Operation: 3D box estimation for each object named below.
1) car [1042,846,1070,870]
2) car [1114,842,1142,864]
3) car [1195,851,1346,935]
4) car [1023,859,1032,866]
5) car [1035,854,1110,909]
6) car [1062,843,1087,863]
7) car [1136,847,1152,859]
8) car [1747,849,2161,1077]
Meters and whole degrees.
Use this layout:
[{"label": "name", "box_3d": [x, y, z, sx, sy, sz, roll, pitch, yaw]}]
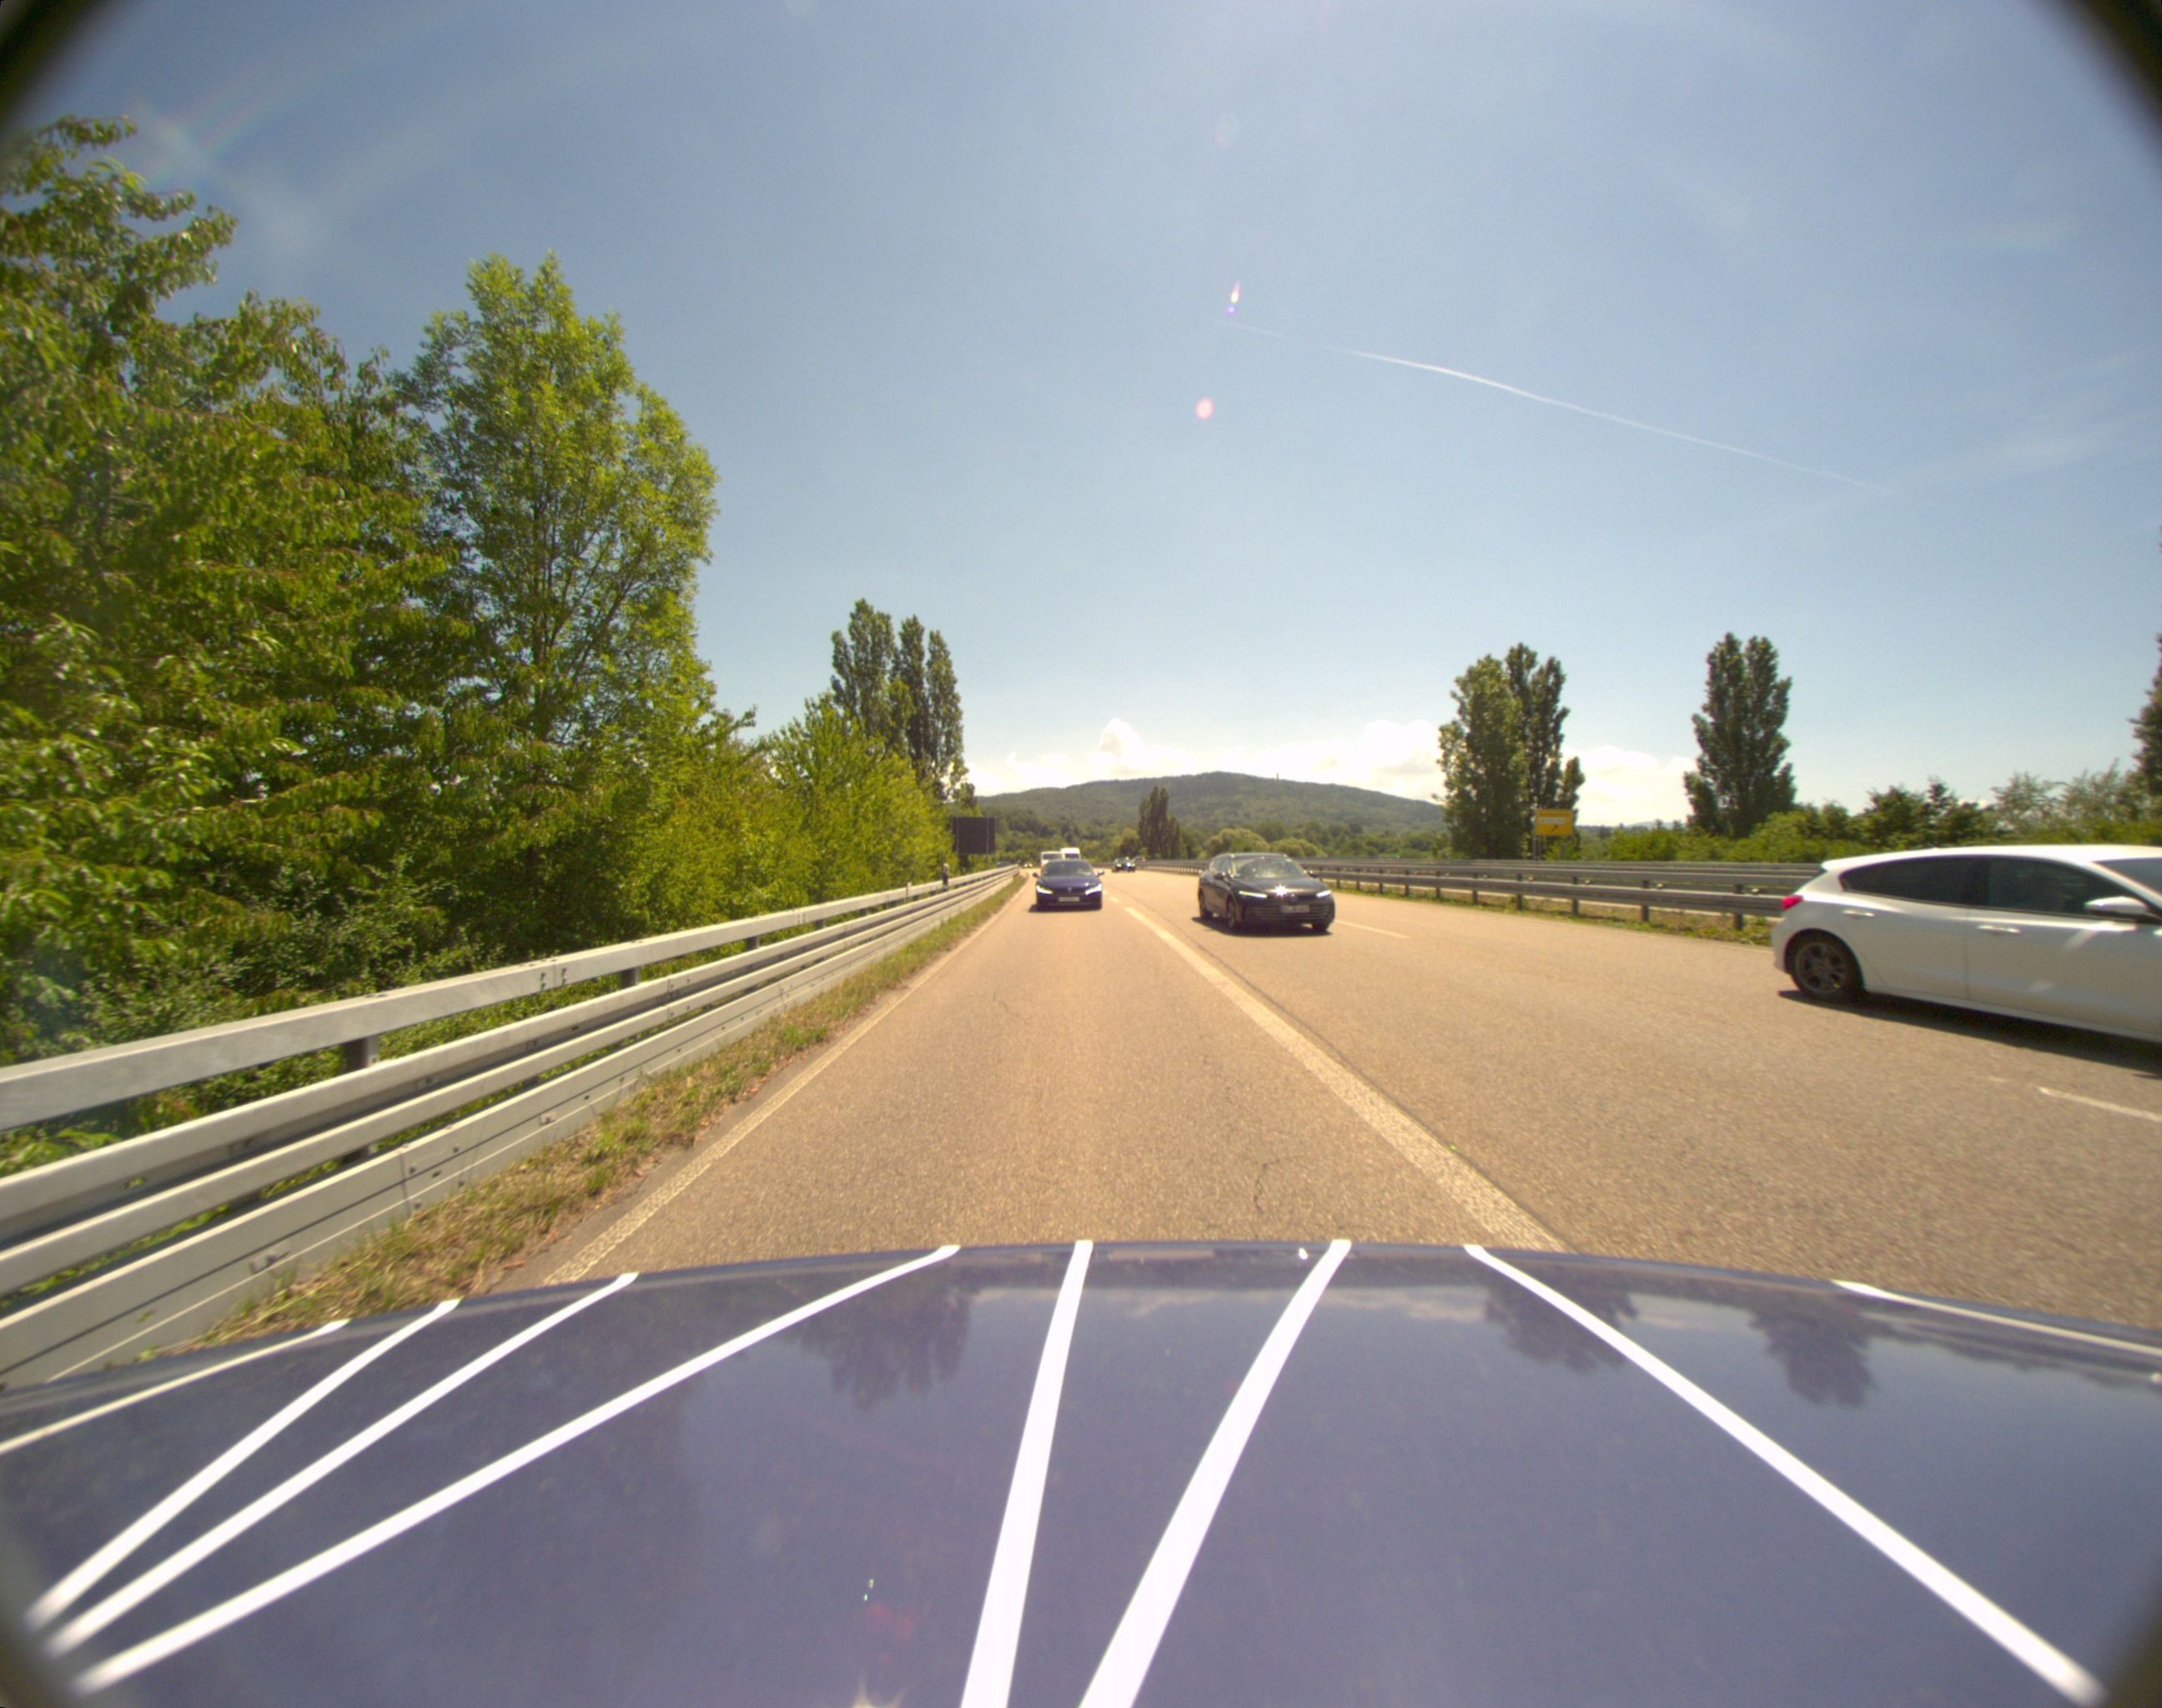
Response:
[{"label": "car", "box_3d": [-1.977, 0.259, 59.124, 1.885, 1.724, 4.467, -1, 1, -5]}, {"label": "car", "box_3d": [4.419, -0.083, 72.555, 2.009, 1.987, 4.577, -1, 1, -4]}, {"label": "car", "box_3d": [3.610, 0.667, 15.355, 1.846, 1.399, 4.469, -1, 0, -1]}, {"label": "car", "box_3d": [-12.254, 1.912, 173.787, 1.999, 1.619, 3.998, 0, 1, -2]}, {"label": "car", "box_3d": [-0.355, 0.743, 22.481, 1.847, 1.399, 4.468, -2, 0, -5]}, {"label": "car", "box_3d": [-0.686, -0.121, 76.918, 2.009, 1.988, 4.575, -1, 1, -8]}, {"label": "car", "box_3d": [9.158, -0.133, 110.520, 1.830, 1.638, 4.187, 0, 1, -2]}, {"label": "car", "box_3d": [7.739, 0.688, 5.508, 1.846, 1.400, 4.468, -1, 1, -1]}]
